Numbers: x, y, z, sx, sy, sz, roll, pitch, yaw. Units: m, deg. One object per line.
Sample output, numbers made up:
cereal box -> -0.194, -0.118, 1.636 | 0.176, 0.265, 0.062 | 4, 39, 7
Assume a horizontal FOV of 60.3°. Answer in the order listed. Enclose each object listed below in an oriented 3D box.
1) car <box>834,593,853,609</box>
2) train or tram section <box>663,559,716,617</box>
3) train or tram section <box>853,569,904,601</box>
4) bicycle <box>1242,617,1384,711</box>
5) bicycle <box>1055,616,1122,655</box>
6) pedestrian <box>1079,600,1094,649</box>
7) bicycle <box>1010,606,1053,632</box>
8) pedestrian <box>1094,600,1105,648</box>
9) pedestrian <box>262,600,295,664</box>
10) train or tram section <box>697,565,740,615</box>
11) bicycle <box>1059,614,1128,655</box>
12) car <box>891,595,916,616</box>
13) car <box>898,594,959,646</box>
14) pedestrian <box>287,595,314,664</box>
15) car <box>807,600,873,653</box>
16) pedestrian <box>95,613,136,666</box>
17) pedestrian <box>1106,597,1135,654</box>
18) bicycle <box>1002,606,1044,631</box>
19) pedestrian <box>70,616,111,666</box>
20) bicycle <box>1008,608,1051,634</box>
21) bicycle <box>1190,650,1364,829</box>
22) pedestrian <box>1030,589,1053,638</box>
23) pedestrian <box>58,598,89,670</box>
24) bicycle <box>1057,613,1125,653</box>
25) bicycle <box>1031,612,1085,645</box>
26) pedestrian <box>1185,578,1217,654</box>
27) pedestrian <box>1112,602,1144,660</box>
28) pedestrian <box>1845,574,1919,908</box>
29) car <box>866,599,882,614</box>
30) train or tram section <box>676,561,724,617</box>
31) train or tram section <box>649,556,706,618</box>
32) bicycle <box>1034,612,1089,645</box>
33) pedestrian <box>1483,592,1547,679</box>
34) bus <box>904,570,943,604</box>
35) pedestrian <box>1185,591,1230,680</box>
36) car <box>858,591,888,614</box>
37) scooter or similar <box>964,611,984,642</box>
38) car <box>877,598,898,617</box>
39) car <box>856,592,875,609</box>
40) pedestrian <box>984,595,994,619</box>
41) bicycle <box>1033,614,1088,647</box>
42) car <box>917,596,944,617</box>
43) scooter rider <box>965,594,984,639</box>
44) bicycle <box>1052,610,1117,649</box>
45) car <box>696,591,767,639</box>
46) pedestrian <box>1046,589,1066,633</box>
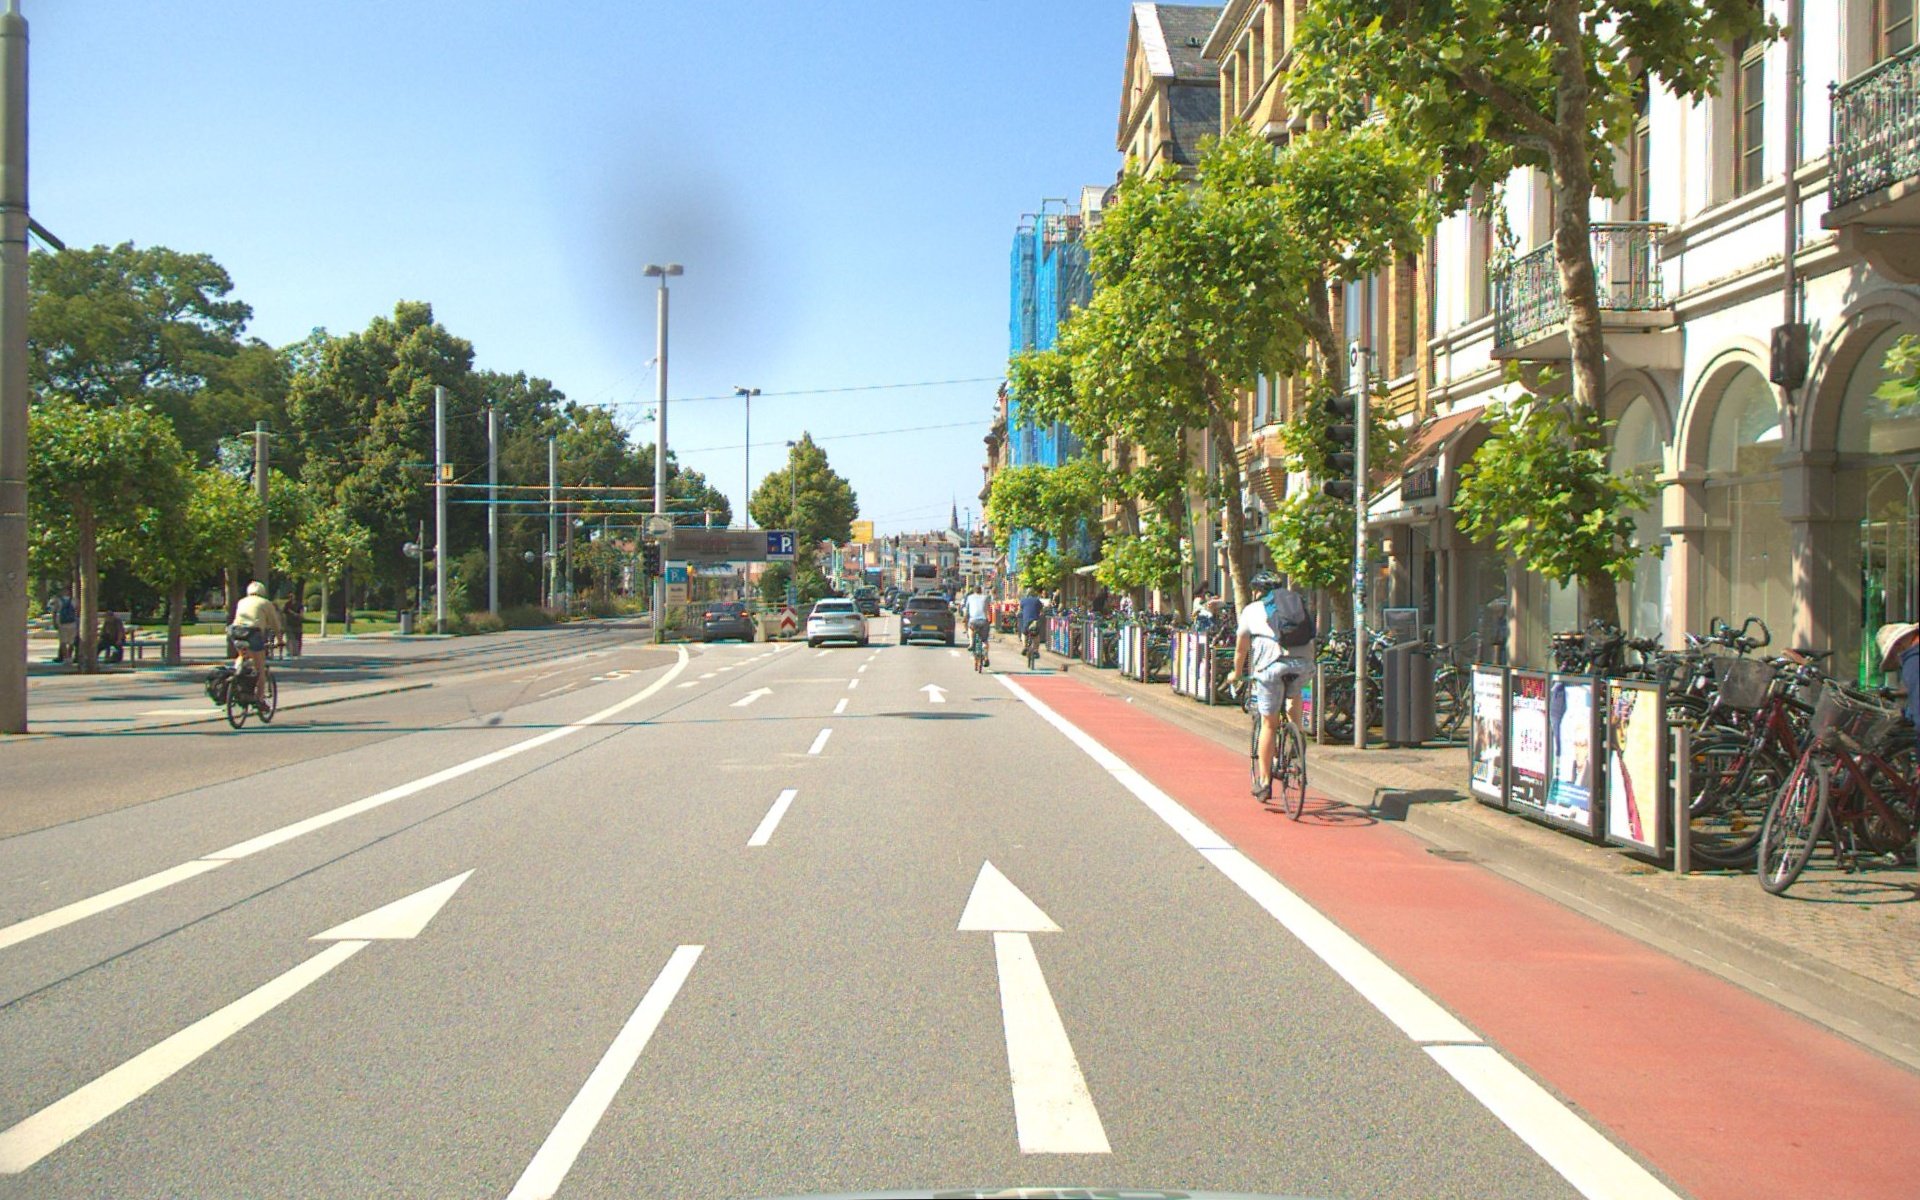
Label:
car -> -10.164, 0.119, 144.617 | 1.422, 1.323, 3.999 | 2, 0, -1
train or tram section -> -17.684, -0.755, 108.405 | 2.561, 3.643, 6.100 | 2, 0, -2
train or tram section -> -10.175, -1.855, 208.035 | 2.764, 3.643, 10.035 | 2, 0, 18
bicycle -> 4.516, 0.818, 21.199 | 1.718, 1.167, 0.482 | 1, 0, -4
bicycle -> 3.436, 0.948, 44.257 | 1.718, 1.036, 0.482 | 1, 0, -4
pedestrian -> 4.530, 0.877, 59.207 | 0.487, 1.712, 0.537 | -1, -1, 7
bicycle -> 2.902, 0.779, 67.227 | 1.718, 1.036, 0.482 | 1, 0, -4
pedestrian -> 5.031, 0.878, 59.570 | 0.372, 1.712, 0.477 | -1, -1, 5
pedestrian -> -17.950, 0.840, 43.568 | 0.513, 1.637, 0.627 | -2, 1, 7
train or tram section -> -18.466, -0.708, 126.731 | 2.561, 3.643, 6.014 | 2, 0, -2
bicycle -> 3.477, 0.889, 43.130 | 1.718, 1.036, 0.482 | 1, 0, -4
car -> -3.780, 0.365, 110.684 | 1.423, 1.323, 3.338 | 2, 0, -5
car -> -1.021, 0.632, 53.295 | 1.836, 1.519, 3.999 | 2, 0, -1
pedestrian -> -17.346, 0.770, 43.485 | 0.520, 1.764, 0.581 | -2, 1, -32
car -> -3.714, 0.812, 51.754 | 1.821, 1.533, 3.999 | 2, 0, -1
pedestrian -> -20.888, 0.971, 40.926 | 0.662, 1.268, 0.751 | -2, 1, -8
pedestrian -> 4.764, 0.751, 49.108 | 0.590, 1.654, 0.640 | -2, 0, -20
bicycle -> 2.629, 0.777, 69.167 | 1.718, 1.036, 0.482 | 1, 0, -4
pedestrian -> -21.724, 1.023, 41.338 | 0.662, 1.191, 0.751 | -2, 1, -8
bicycle -> 2.838, 0.844, 67.783 | 1.718, 1.036, 0.482 | 1, 0, -4
bicycle -> 2.278, 0.970, 12.163 | 0.719, 1.112, 2.129 | 2, 0, -4
pedestrian -> 2.887, 0.488, 58.702 | 0.646, 1.712, 0.650 | 1, -1, -18
pedestrian -> -20.904, 0.796, 39.000 | 0.568, 1.637, 0.597 | -2, 1, -31
bicycle -> 3.458, 0.881, 43.733 | 1.718, 1.036, 0.482 | 1, 0, -4
bicycle -> 3.202, 0.932, 54.273 | 1.718, 1.036, 0.586 | 0, 0, -4
pedestrian -> 5.782, 0.387, 39.683 | 0.654, 1.812, 0.985 | 0, -1, 2
pedestrian -> 4.923, 0.898, 48.393 | 0.685, 1.654, 0.698 | -1, 0, -19
pedestrian -> 4.791, 0.669, 8.011 | 0.592, 1.565, 0.666 | 2, -1, -4
car -> -8.081, 0.606, 155.143 | 1.422, 1.323, 3.340 | 2, 0, -2
train or tram section -> -17.920, -0.740, 114.137 | 2.561, 3.643, 5.354 | 2, 0, -2
train or tram section -> -17.413, -0.771, 102.313 | 2.561, 3.643, 6.100 | 2, 0, -2
bicycle -> 3.248, 0.924, 53.080 | 1.718, 1.036, 0.482 | 1, 0, -4
pedestrian -> 8.420, 0.533, 25.092 | 0.715, 1.274, 0.588 | 2, -1, 42
bus -> -3.333, -1.122, 148.195 | 2.911, 2.825, 8.633 | 2, 0, -4
pedestrian -> 4.735, 0.674, 31.683 | 0.639, 1.662, 0.730 | 2, -1, -5
car -> -5.512, 0.188, 105.119 | 1.779, 1.355, 3.999 | 2, 0, -1
scooter or similar -> 0.547, 1.041, 65.841 | 0.674, 1.188, 1.463 | 2, 0, -3
car -> -5.389, 0.577, 123.593 | 1.422, 1.323, 3.341 | 2, 0, -1
car -> -7.871, 0.035, 137.668 | 1.422, 1.323, 3.999 | 2, 0, -1
pedestrian -> 2.098, 0.506, 118.016 | 0.641, 1.649, 0.815 | 0, 1, -4
bicycle -> 3.265, 0.982, 53.646 | 1.718, 1.036, 0.482 | 1, 0, -4
car -> -2.233, 0.493, 124.358 | 1.953, 1.519, 3.999 | 2, 0, -1
scooter rider -> 0.577, 0.644, 65.883 | 0.674, 1.759, 0.778 | 2, -1, -3
bicycle -> 3.417, 0.811, 45.372 | 1.718, 1.036, 0.482 | 1, 0, -4
car -> -8.049, 0.521, 58.577 | 1.953, 1.534, 3.999 | 2, 0, -1
pedestrian -> 4.167, 0.483, 71.675 | 0.797, 1.881, 0.892 | -1, -1, 5
